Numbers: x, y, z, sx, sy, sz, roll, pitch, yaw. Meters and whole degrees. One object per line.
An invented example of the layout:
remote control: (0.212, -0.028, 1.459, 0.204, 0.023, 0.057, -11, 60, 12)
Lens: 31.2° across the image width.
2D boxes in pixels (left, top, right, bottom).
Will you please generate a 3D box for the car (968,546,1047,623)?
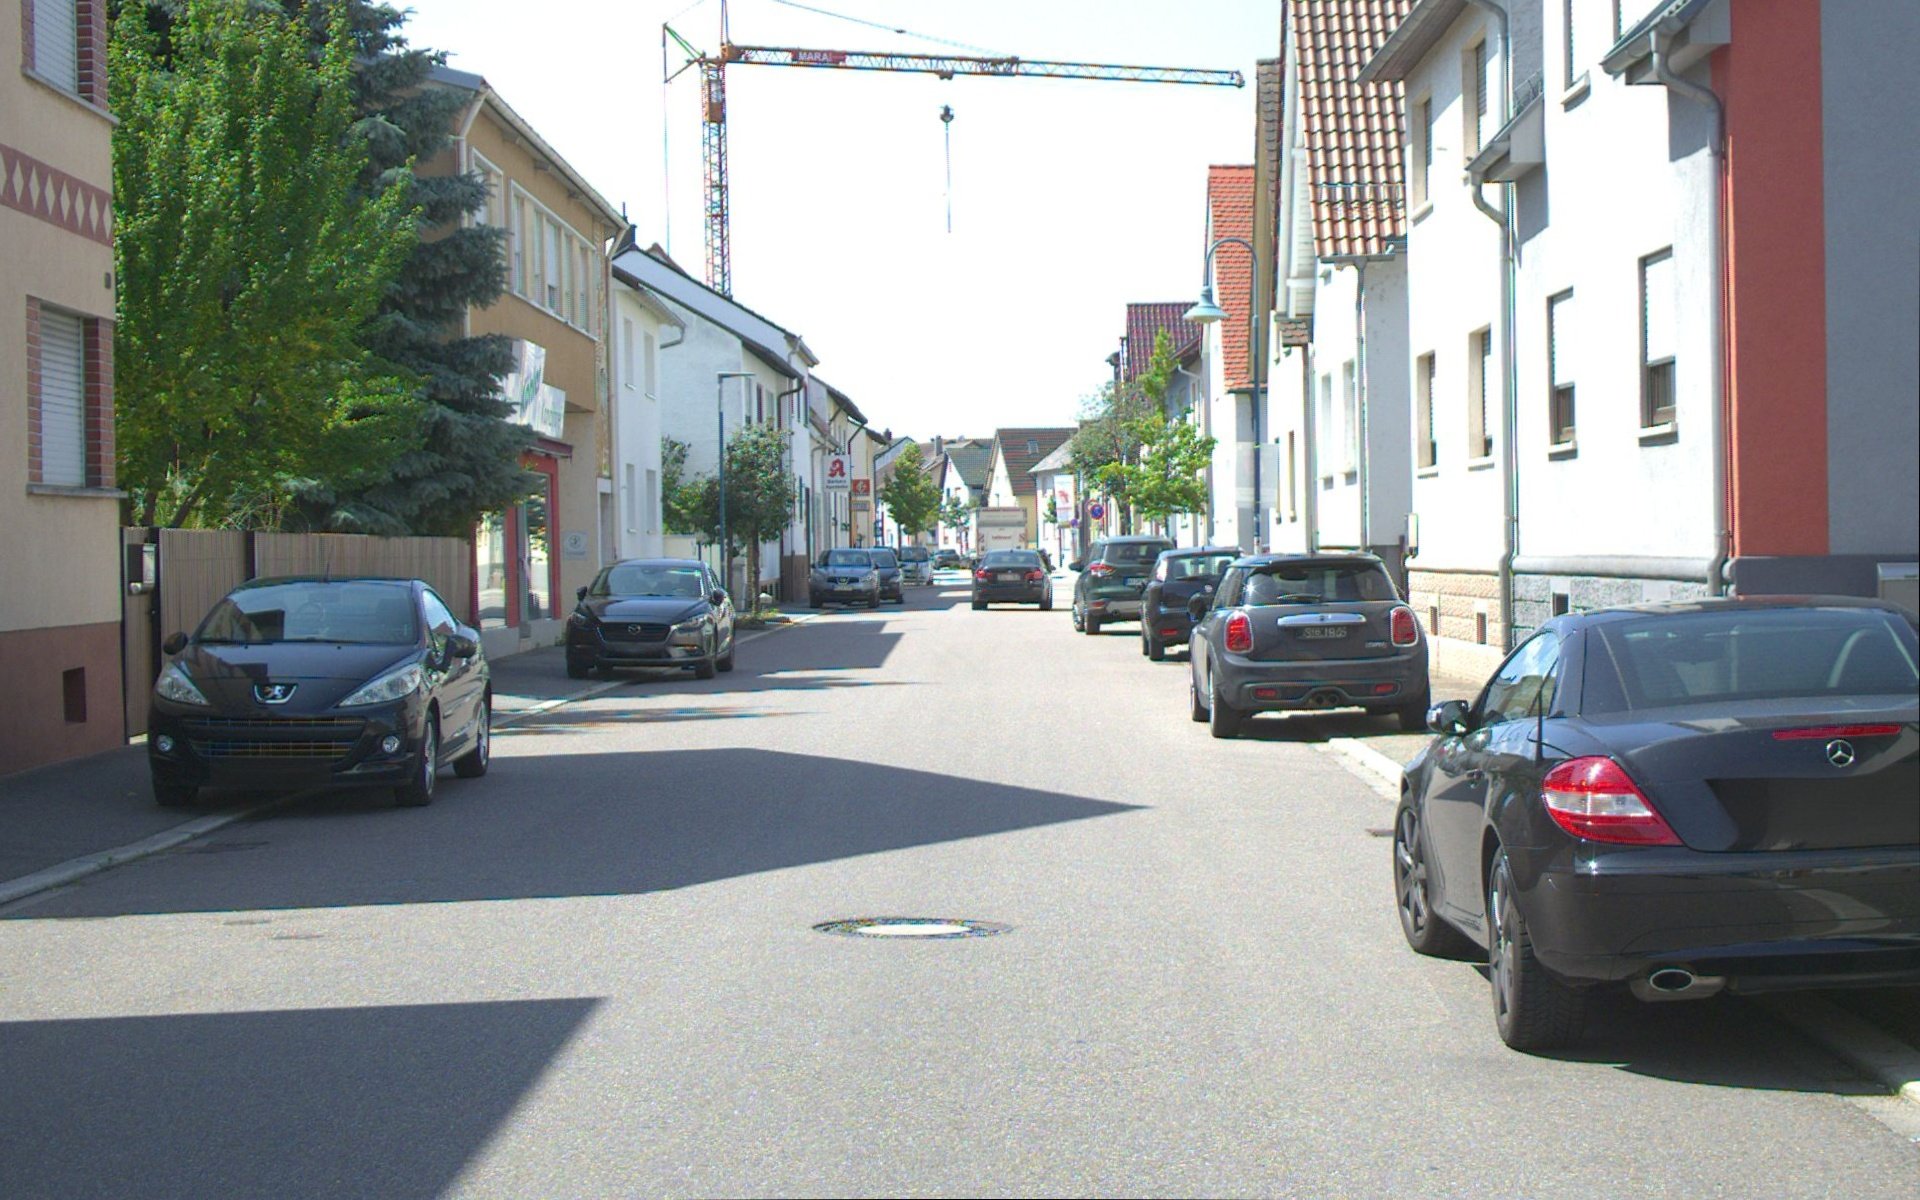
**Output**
car: (1.111, -0.382, 82.889, 1.783, 1.747, 4.000, -2, 1, 0)

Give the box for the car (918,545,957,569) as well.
car: (-1.659, -3.180, 254.888, 1.820, 1.747, 4.230, -2, 1, -15)

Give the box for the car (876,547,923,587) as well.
car: (-2.416, -1.349, 138.501, 1.723, 1.550, 4.172, 0, 1, 1)

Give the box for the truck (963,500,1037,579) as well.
truck: (2.018, -3.070, 178.064, 3.379, 3.852, 13.927, -2, 1, -1)

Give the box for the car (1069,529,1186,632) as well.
car: (2.901, -0.361, 60.308, 1.728, 1.711, 4.276, -1, 1, -1)

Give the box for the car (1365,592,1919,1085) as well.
car: (2.461, 0.649, 11.466, 1.816, 1.271, 4.146, -1, 1, 1)

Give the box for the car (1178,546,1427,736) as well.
car: (2.733, 0.283, 28.075, 1.688, 1.417, 3.657, -1, 1, 1)

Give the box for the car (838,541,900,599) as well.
car: (-2.600, -0.888, 99.134, 1.653, 1.603, 4.061, -1, 1, 0)

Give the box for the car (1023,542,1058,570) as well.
car: (4.633, -2.530, 198.254, 1.782, 1.558, 4.337, -2, 1, -1)

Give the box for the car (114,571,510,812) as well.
car: (-4.065, 0.518, 22.171, 1.761, 1.369, 4.066, 0, 1, 0)

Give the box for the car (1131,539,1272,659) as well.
car: (3.299, -0.046, 47.528, 1.617, 1.490, 3.972, -3, 1, 1)

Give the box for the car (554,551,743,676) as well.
car: (-3.835, 0.126, 43.023, 1.768, 1.455, 4.436, -1, 1, 2)

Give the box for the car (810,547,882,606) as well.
car: (-3.045, -0.645, 92.384, 1.758, 1.519, 4.289, -1, 1, 0)
